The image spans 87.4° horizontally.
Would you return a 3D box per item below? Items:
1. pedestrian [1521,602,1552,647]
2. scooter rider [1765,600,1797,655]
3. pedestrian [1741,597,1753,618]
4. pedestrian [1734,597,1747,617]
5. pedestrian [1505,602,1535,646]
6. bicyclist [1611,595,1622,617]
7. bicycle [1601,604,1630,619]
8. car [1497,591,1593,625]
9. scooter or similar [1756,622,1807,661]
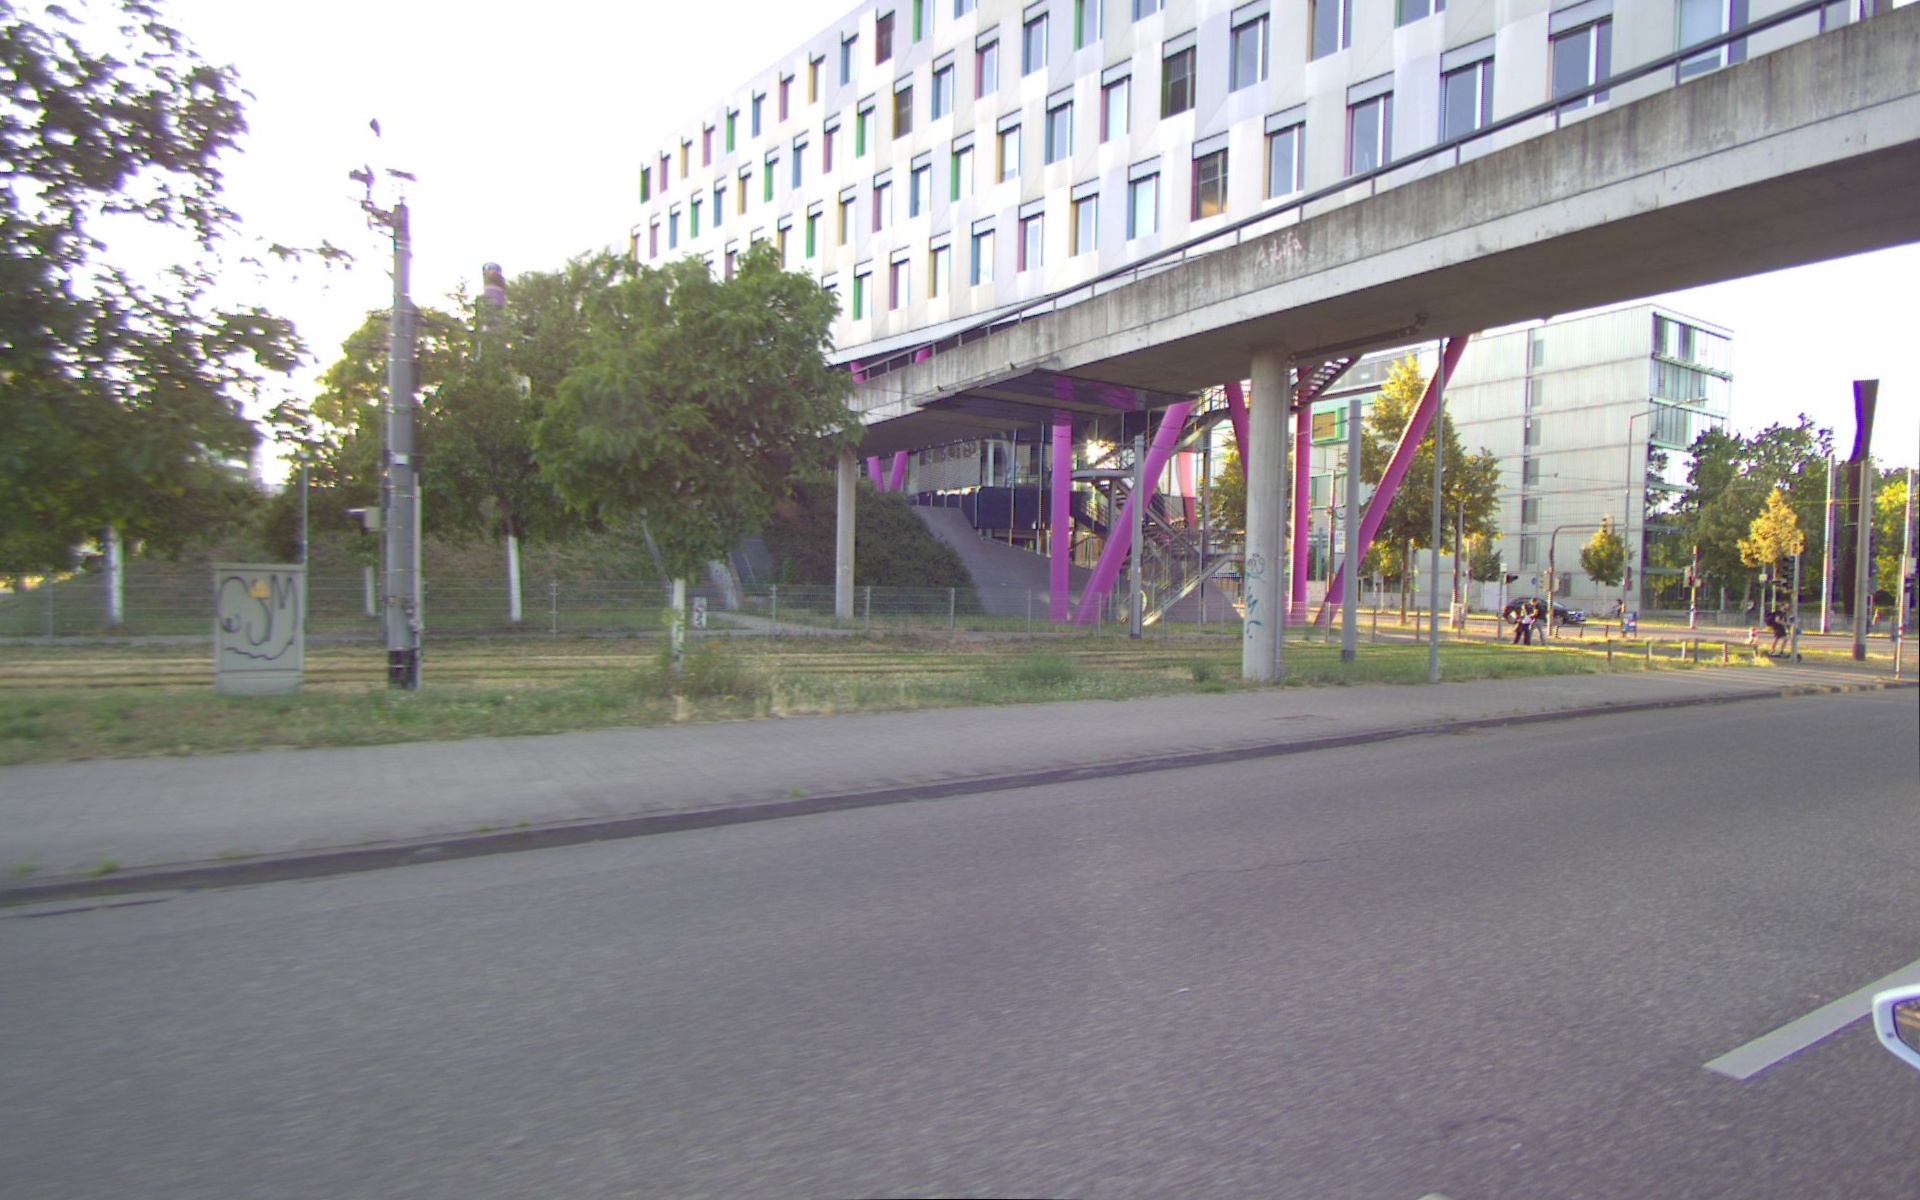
[{"bbox_3d":[22.092,0.917,38.510,0.699,1.686,0.700,0,2,-13],"label":"pedestrian"},{"bbox_3d":[27.482,0.897,33.619,0.438,1.807,0.701,-1,2,-34],"label":"scooter rider"},{"bbox_3d":[79.346,0.736,101.271,0.686,2.041,0.696,0,2,-11],"label":"pedestrian"},{"bbox_3d":[78.540,0.710,101.092,0.686,2.041,0.696,0,2,-11],"label":"pedestrian"},{"bbox_3d":[21.362,0.902,38.309,0.699,1.646,0.686,0,2,-13],"label":"pedestrian"},{"bbox_3d":[53.172,0.451,81.367,0.747,1.746,0.550,2,2,35],"label":"bicyclist"},{"bbox_3d":[53.141,0.953,81.397,1.936,1.143,0.558,1,2,35],"label":"bicycle"},{"bbox_3d":[34.211,0.423,58.862,1.923,1.841,4.443,-1,2,-31],"label":"car"},{"bbox_3d":[27.483,1.373,33.621,0.498,1.217,1.206,-1,2,-34],"label":"scooter or similar"}]
